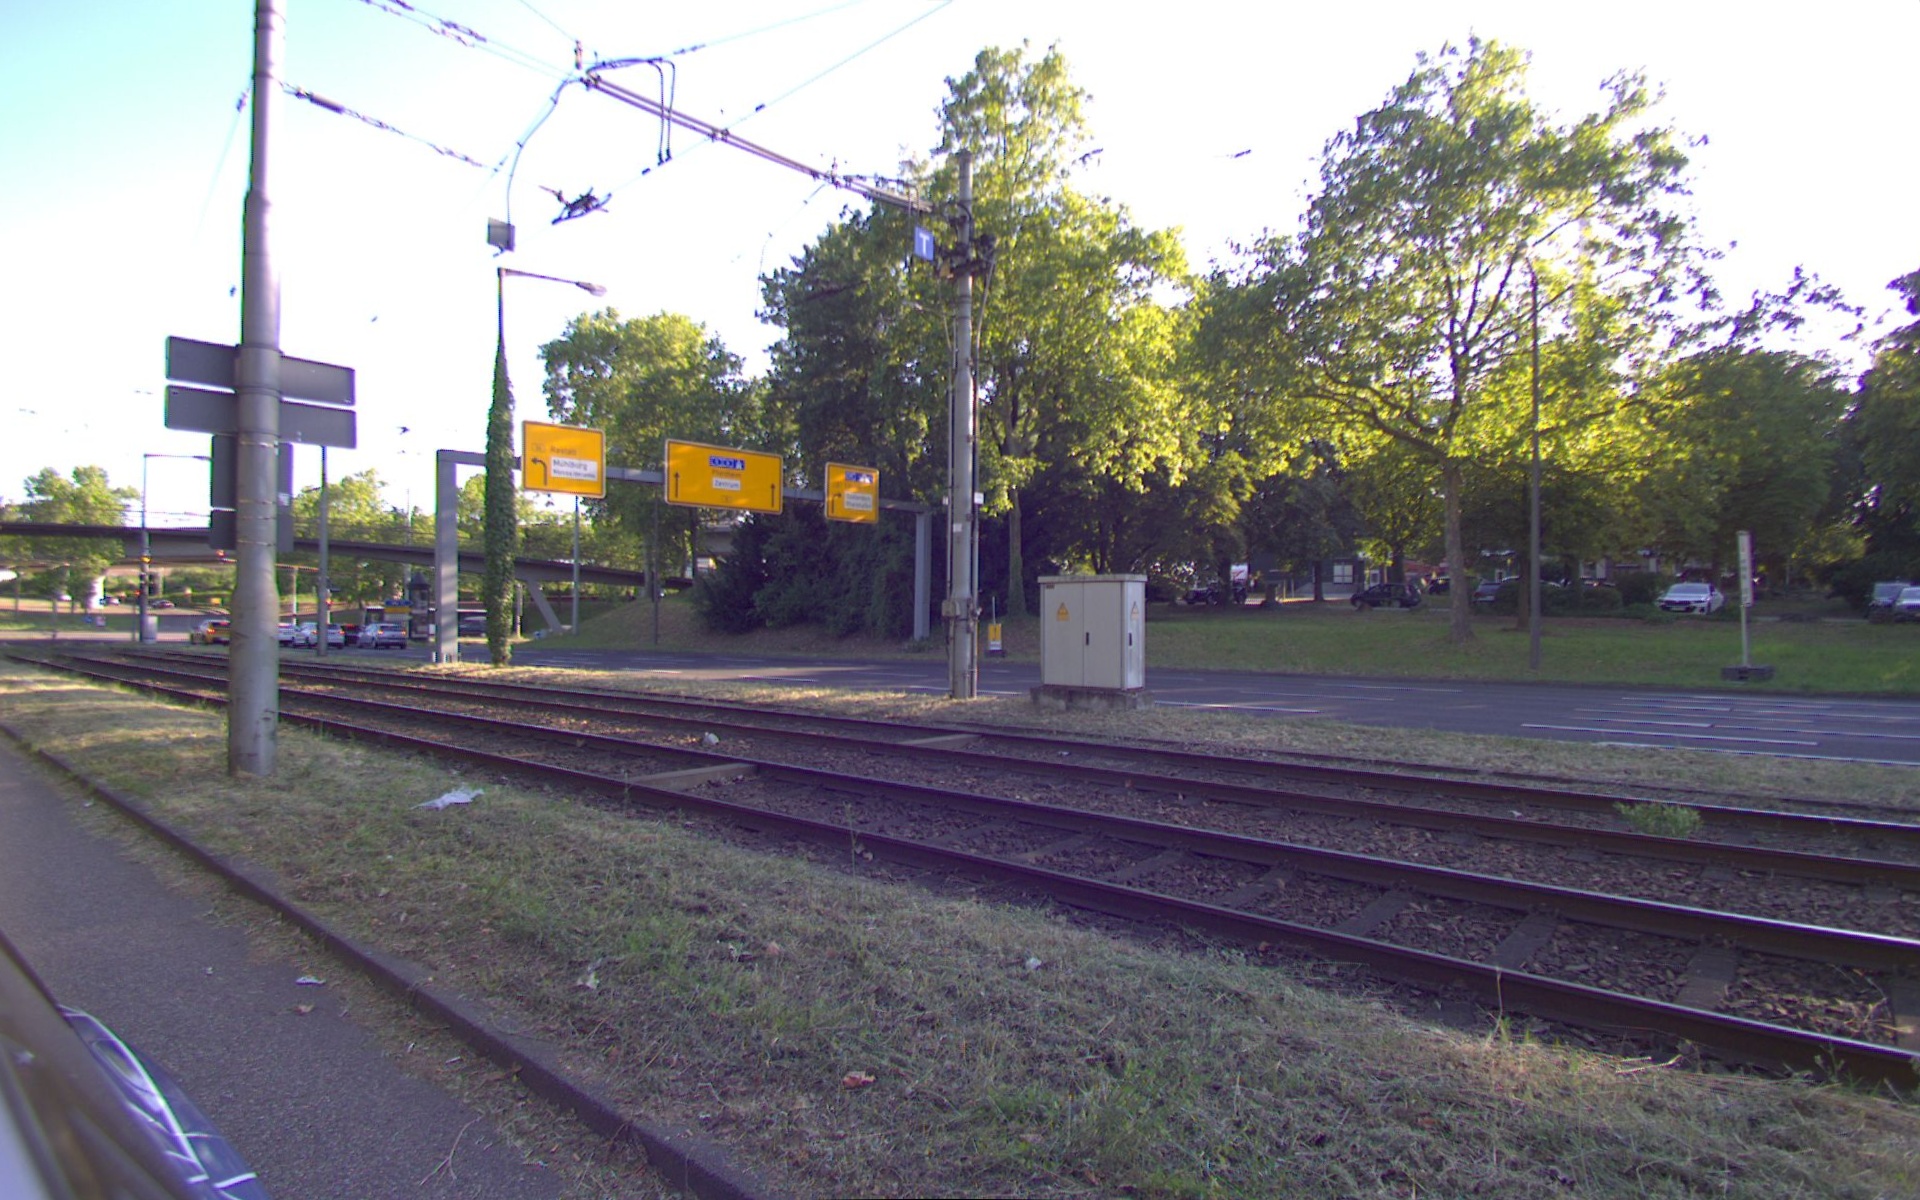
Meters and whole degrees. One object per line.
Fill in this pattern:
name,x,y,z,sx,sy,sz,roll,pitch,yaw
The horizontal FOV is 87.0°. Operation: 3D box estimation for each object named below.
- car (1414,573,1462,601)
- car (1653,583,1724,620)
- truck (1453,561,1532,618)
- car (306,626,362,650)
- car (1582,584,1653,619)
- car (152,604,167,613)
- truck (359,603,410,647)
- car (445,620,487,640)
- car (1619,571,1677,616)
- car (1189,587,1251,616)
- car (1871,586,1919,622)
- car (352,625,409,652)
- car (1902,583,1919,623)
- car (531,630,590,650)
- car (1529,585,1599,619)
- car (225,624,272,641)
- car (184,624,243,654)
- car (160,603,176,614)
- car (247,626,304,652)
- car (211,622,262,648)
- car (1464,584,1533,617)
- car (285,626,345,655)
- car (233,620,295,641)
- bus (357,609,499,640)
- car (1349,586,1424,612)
car,33.574,-0.929,71.044,2.290,1.864,5.214,-1,1,34
car,31.575,0.055,43.827,1.942,1.521,4.039,0,0,44
truck,31.759,-0.630,60.267,2.503,3.191,6.137,0,0,45
car,-39.749,2.396,64.219,4.224,1.435,1.844,-1,-1,40
car,30.049,0.058,46.203,1.942,1.521,4.039,0,0,44
car,-140.767,1.511,177.903,1.806,1.630,3.986,-1,0,-43
truck,-40.288,1.747,70.758,2.248,2.901,6.895,0,-1,-37
car,-50.361,3.063,103.123,3.748,1.872,1.682,-1,0,-30
car,36.901,-0.340,54.221,2.161,2.320,4.348,0,0,40
car,15.411,0.108,59.941,1.791,1.657,3.942,-1,-1,44
car,43.983,0.158,47.207,3.998,1.628,1.864,-1,0,-43
car,-34.317,2.254,59.897,3.998,1.556,1.789,-1,-1,41
car,37.594,0.090,38.875,1.942,1.521,4.039,0,0,44
car,-35.642,3.555,90.296,4.725,1.584,1.945,-1,-1,-25
car,28.440,0.066,47.640,1.942,1.521,4.039,0,0,44
car,-69.480,3.186,98.878,3.593,1.523,1.668,-1,0,-30
car,-40.791,2.123,55.245,3.997,1.556,1.744,-1,-1,40
car,-130.853,1.387,167.138,1.806,1.630,3.986,-1,0,-43
car,-40.561,2.279,59.946,4.226,1.435,1.893,-1,-1,42
car,-45.824,2.182,64.034,4.228,1.561,1.892,-1,-2,44
car,26.184,0.006,49.169,1.942,1.521,4.039,0,0,44
car,-35.548,2.202,55.748,3.997,1.556,1.744,-1,-1,40
car,-54.589,2.347,79.439,3.962,1.504,1.628,-1,0,-33
bus,-55.427,2.532,105.925,12.965,2.884,2.425,-1,0,-26
car,24.931,-0.093,59.234,3.726,1.474,1.651,1,1,44
